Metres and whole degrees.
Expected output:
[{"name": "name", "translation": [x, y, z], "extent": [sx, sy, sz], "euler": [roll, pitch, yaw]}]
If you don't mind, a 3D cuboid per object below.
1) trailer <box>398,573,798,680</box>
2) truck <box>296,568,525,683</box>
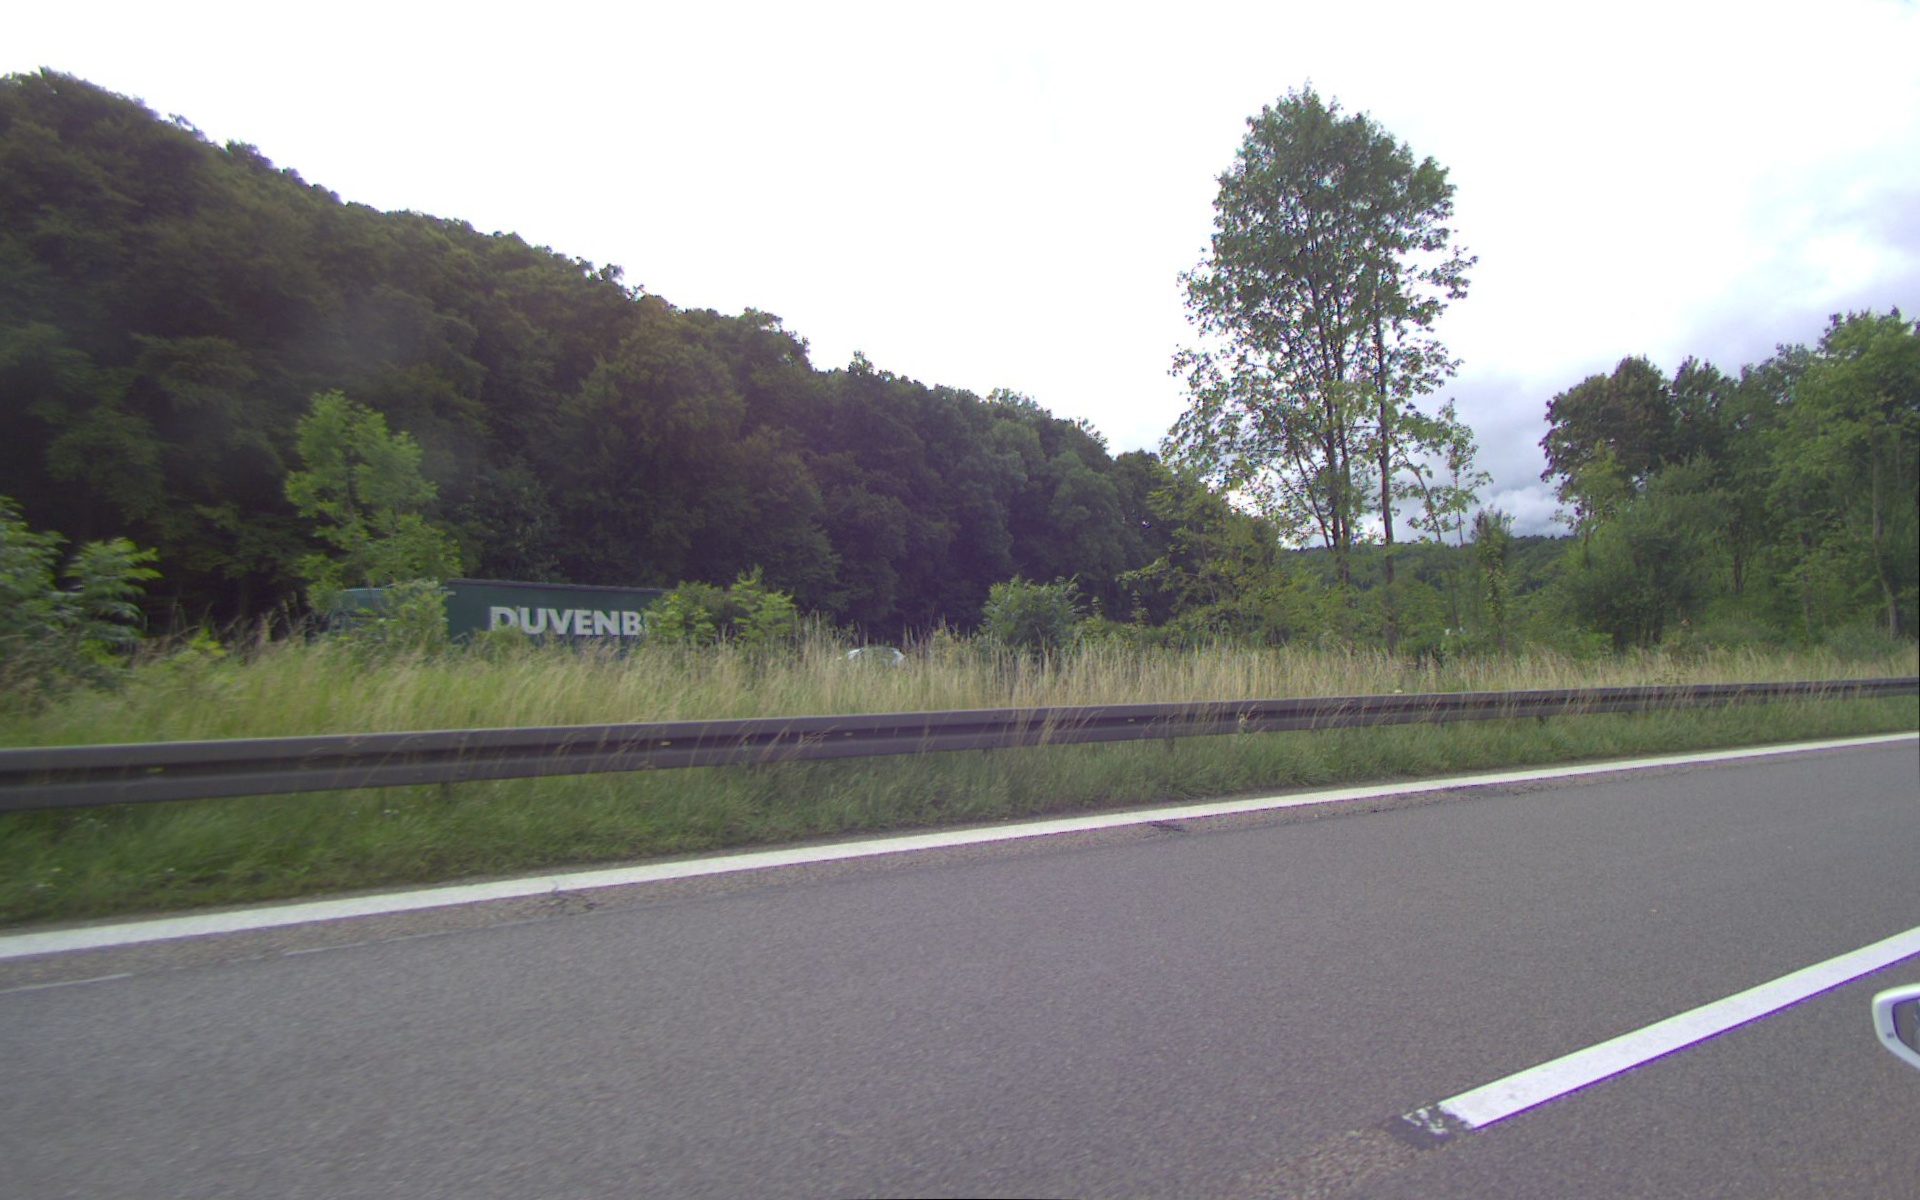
[{"name": "trailer", "translation": [-12.468, 0.902, 36.686], "extent": [3.119, 3.263, 13.728], "euler": [1, 0, 44]}, {"name": "truck", "translation": [-17.266, 0.758, 31.772], "extent": [3.119, 3.263, 5.696], "euler": [1, 0, 45]}]
